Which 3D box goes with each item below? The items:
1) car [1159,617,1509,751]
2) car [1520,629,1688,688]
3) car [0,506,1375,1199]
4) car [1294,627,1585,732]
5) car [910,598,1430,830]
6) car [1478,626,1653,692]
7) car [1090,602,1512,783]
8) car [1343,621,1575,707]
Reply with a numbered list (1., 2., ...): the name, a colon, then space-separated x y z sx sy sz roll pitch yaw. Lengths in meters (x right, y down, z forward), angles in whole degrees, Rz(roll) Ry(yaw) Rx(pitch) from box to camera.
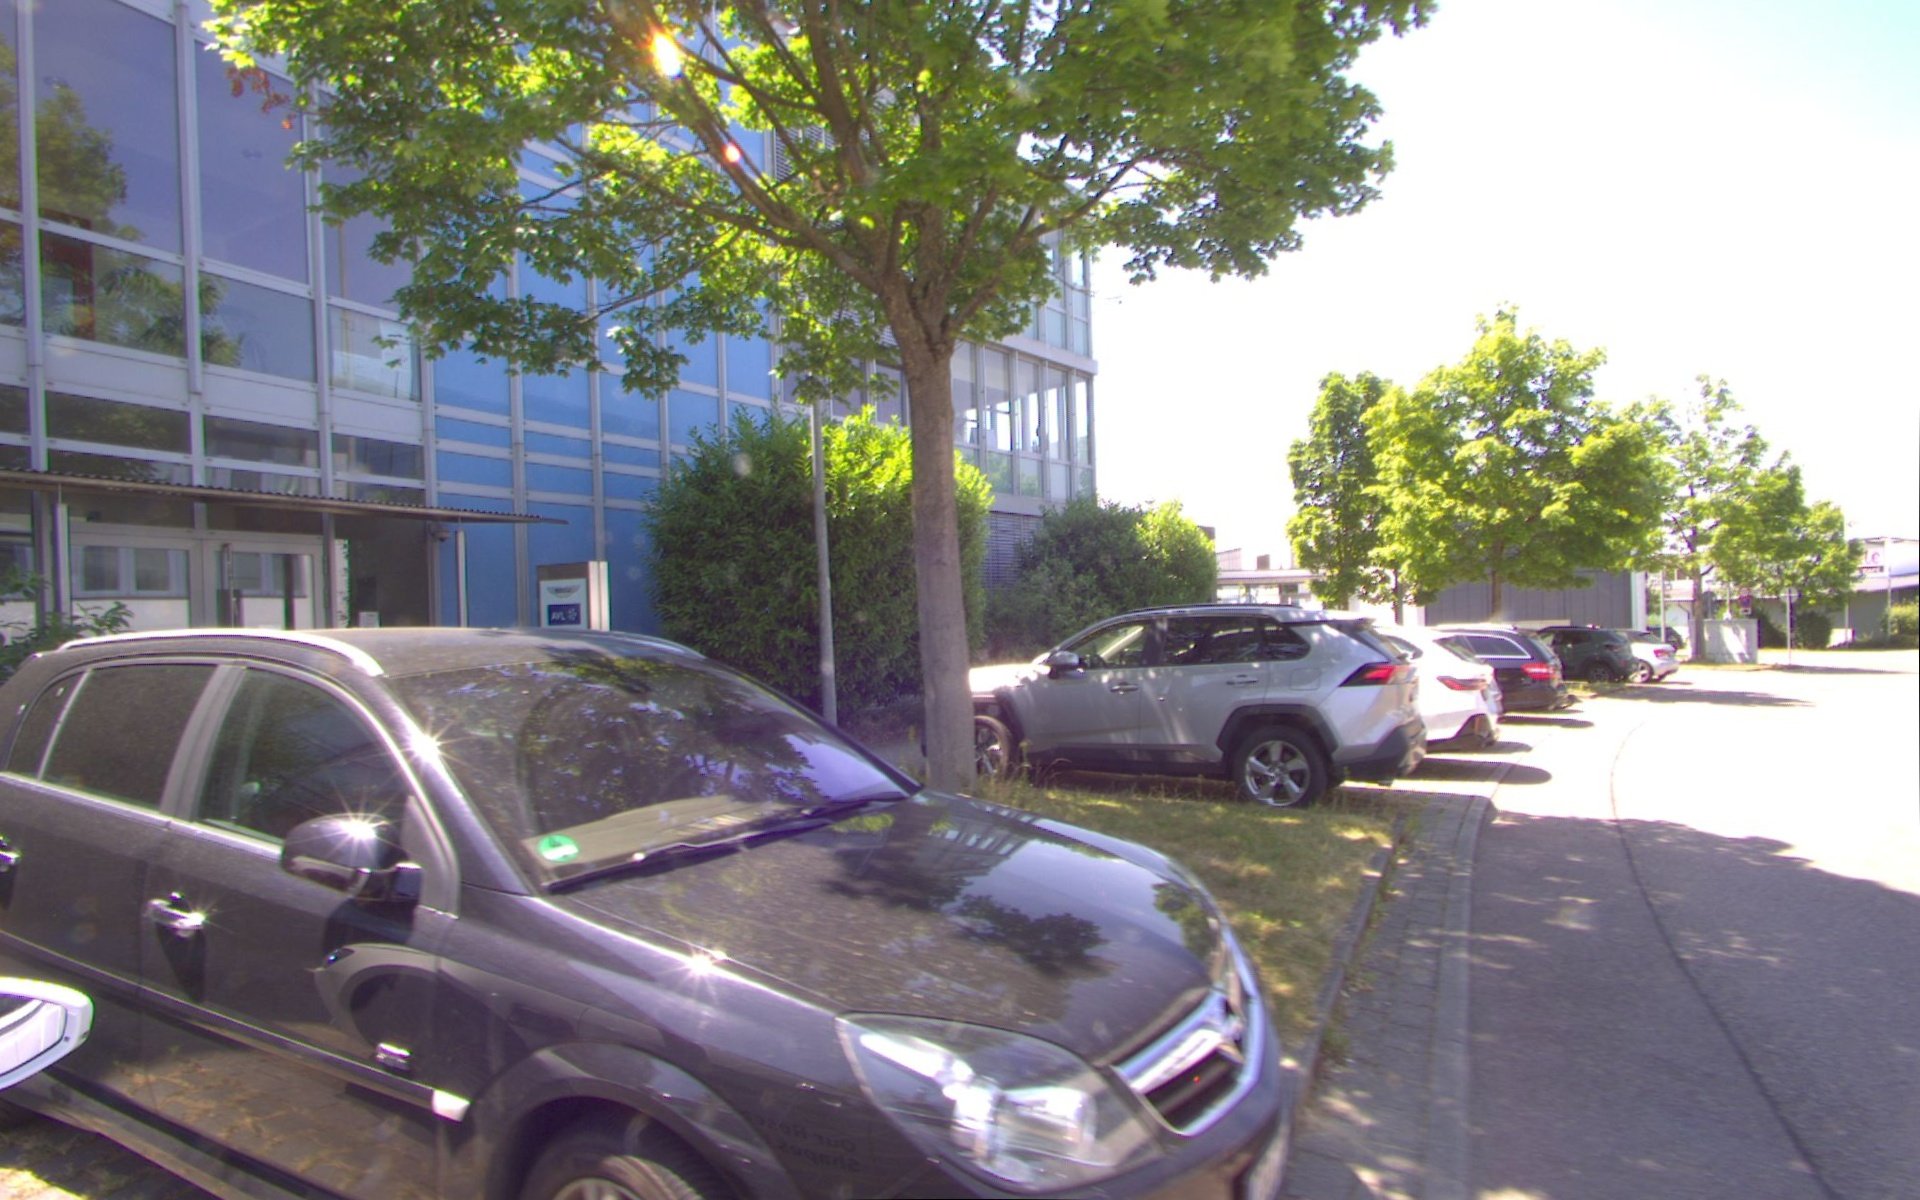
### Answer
1. car: 4.874 0.999 13.204 4.116 1.505 1.653 0 -1 31
2. car: 17.418 1.531 27.173 1.619 1.462 3.557 1 -1 -42
3. car: -1.291 0.753 2.954 4.495 1.569 1.757 -1 -2 28
4. car: 7.893 1.223 16.670 4.125 1.505 1.649 0 -1 38
5. car: 1.829 0.847 9.084 4.268 1.664 1.849 0 -1 31
6. car: 15.520 1.468 25.775 1.619 1.545 3.557 1 -1 -42
7. car: 3.665 0.876 10.974 4.140 1.664 1.653 0 -1 31
8. car: 10.543 1.289 21.361 4.135 1.626 1.646 -1 -1 45
